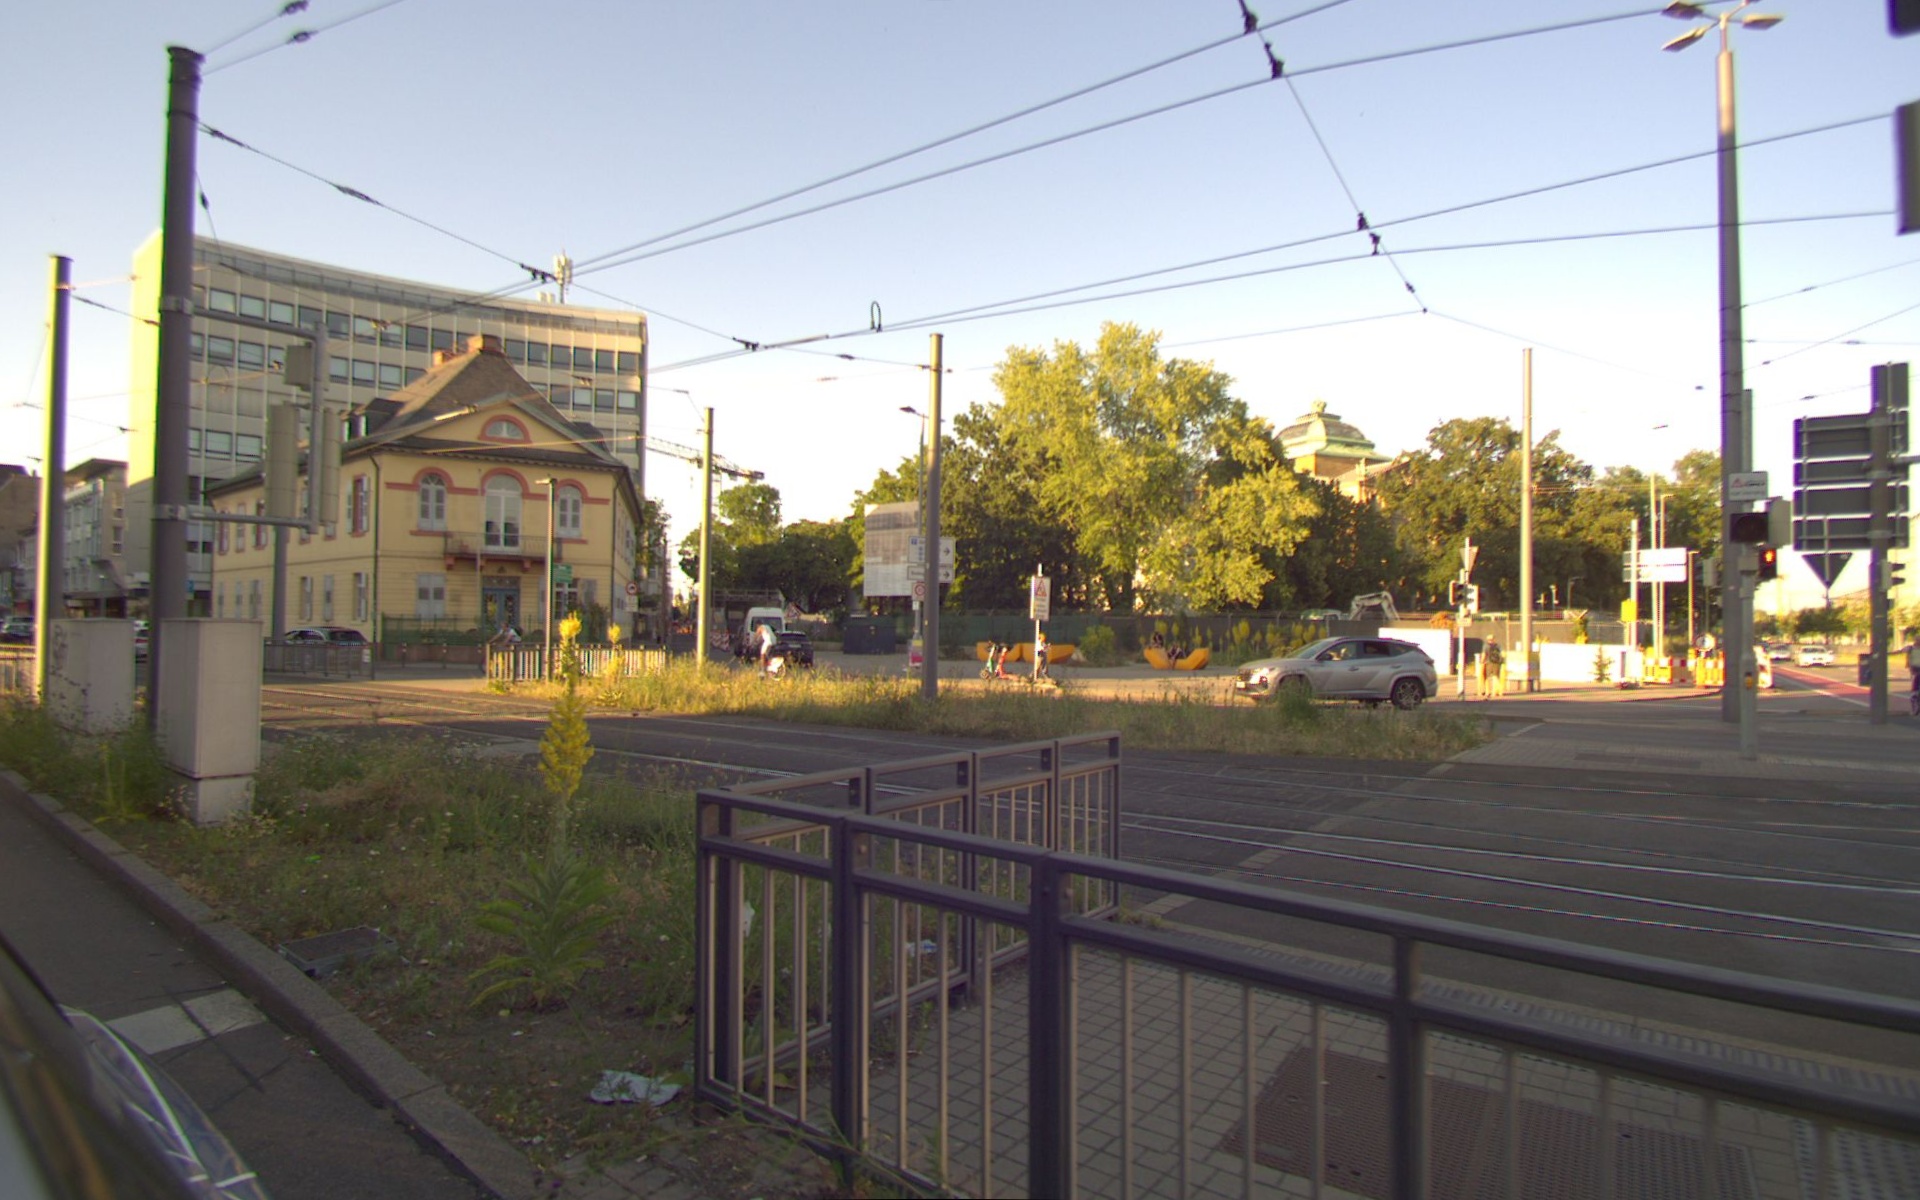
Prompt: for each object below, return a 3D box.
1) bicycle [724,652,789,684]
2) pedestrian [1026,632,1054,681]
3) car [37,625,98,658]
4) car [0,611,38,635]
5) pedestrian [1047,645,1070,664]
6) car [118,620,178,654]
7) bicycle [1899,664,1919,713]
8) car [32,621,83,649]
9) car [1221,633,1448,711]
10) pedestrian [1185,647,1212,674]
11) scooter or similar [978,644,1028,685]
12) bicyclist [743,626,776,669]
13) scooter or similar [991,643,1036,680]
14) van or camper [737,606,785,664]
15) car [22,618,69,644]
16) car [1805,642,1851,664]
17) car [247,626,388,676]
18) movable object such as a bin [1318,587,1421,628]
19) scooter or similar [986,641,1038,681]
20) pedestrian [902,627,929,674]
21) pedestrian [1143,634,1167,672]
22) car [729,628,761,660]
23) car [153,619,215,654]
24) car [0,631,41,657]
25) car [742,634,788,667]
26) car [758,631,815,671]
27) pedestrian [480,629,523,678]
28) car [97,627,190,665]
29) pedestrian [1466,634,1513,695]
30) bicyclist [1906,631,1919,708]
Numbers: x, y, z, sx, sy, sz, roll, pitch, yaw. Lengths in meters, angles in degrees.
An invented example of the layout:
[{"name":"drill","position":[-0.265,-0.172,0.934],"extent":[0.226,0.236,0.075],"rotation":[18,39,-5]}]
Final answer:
[{"name":"bicycle","position":[-6.096,2.032,30.364],"extent":[1.780,0.899,0.677],"rotation":[0,-2,16]},{"name":"pedestrian","position":[2.663,1.868,33.694],"extent":[0.597,1.626,0.680],"rotation":[-1,-3,45]},{"name":"car","position":[-45.758,2.108,51.835],"extent":[4.070,1.610,1.815],"rotation":[-1,-2,41]},{"name":"car","position":[-80.641,1.983,86.492],"extent":[3.994,1.962,1.975],"rotation":[-1,-2,38]},{"name":"pedestrian","position":[4.745,2.635,48.851],"extent":[0.974,0.900,0.558],"rotation":[0,-2,22]},{"name":"car","position":[-43.671,1.972,54.435],"extent":[3.801,1.721,1.715],"rotation":[-1,-2,39]},{"name":"bicycle","position":[21.525,1.972,22.428],"extent":[0.594,1.031,1.829],"rotation":[0,-2,28]},{"name":"car","position":[-63.791,2.485,71.497],"extent":[3.994,1.962,1.975],"rotation":[-2,-3,38]},{"name":"car","position":[8.516,1.613,23.302],"extent":[4.468,1.673,1.951],"rotation":[1,-2,-3]},{"name":"pedestrian","position":[10.350,2.614,43.913],"extent":[0.735,1.166,0.976],"rotation":[-1,-3,42]},{"name":"scooter or similar","position":[1.412,2.135,33.530],"extent":[1.502,1.269,0.613],"rotation":[4,-2,-7]},{"name":"bicyclist","position":[-6.014,1.422,30.358],"extent":[0.722,1.267,0.664],"rotation":[0,-2,16]},{"name":"scooter or similar","position":[1.710,1.975,32.546],"extent":[1.382,1.175,0.462],"rotation":[1,-2,-7]},{"name":"van or camper","position":[-10.423,1.832,52.702],"extent":[2.049,2.796,6.466],"rotation":[1,-2,-14]},{"name":"car","position":[-70.096,2.372,77.531],"extent":[3.994,1.962,1.975],"rotation":[-1,-2,38]},{"name":"car","position":[57.736,3.509,67.296],"extent":[4.240,1.416,1.918],"rotation":[3,-4,-44]},{"name":"car","position":[-21.895,1.690,34.465],"extent":[4.388,1.528,1.984],"rotation":[-1,0,24]},{"name":"movable object such as a bin","position":[21.182,0.445,52.563],"extent":[1.965,2.029,5.040],"rotation":[1,-2,-23]},{"name":"scooter or similar","position":[1.682,1.991,33.025],"extent":[1.627,1.302,0.462],"rotation":[1,-2,-8]},{"name":"pedestrian","position":[-1.698,1.898,38.373],"extent":[0.864,1.737,0.831],"rotation":[2,-2,-11]},{"name":"pedestrian","position":[8.771,2.395,45.535],"extent":[0.764,1.678,0.811],"rotation":[-1,-3,43]},{"name":"car","position":[-13.226,2.663,62.110],"extent":[1.689,1.863,4.033],"rotation":[2,-2,-15]},{"name":"car","position":[-39.366,1.852,51.351],"extent":[3.435,1.721,1.715],"rotation":[-1,-2,39]},{"name":"car","position":[-56.776,2.634,60.879],"extent":[1.989,1.439,4.658],"rotation":[2,-2,-45]},{"name":"car","position":[-9.059,2.308,46.818],"extent":[1.705,1.440,4.486],"rotation":[2,-2,-16]},{"name":"car","position":[-7.312,2.106,42.391],"extent":[1.753,1.555,4.303],"rotation":[2,-2,-17]},{"name":"pedestrian","position":[-14.326,1.657,31.664],"extent":[1.027,1.514,1.007],"rotation":[1,-2,-12]},{"name":"car","position":[-33.230,1.847,41.169],"extent":[4.330,1.421,1.892],"rotation":[-1,-2,37]},{"name":"pedestrian","position":[15.581,1.885,29.793],"extent":[0.929,1.749,0.822],"rotation":[1,-2,-5]},{"name":"bicyclist","position":[21.542,1.538,22.471],"extent":[0.593,1.683,0.741],"rotation":[0,-2,28]}]
